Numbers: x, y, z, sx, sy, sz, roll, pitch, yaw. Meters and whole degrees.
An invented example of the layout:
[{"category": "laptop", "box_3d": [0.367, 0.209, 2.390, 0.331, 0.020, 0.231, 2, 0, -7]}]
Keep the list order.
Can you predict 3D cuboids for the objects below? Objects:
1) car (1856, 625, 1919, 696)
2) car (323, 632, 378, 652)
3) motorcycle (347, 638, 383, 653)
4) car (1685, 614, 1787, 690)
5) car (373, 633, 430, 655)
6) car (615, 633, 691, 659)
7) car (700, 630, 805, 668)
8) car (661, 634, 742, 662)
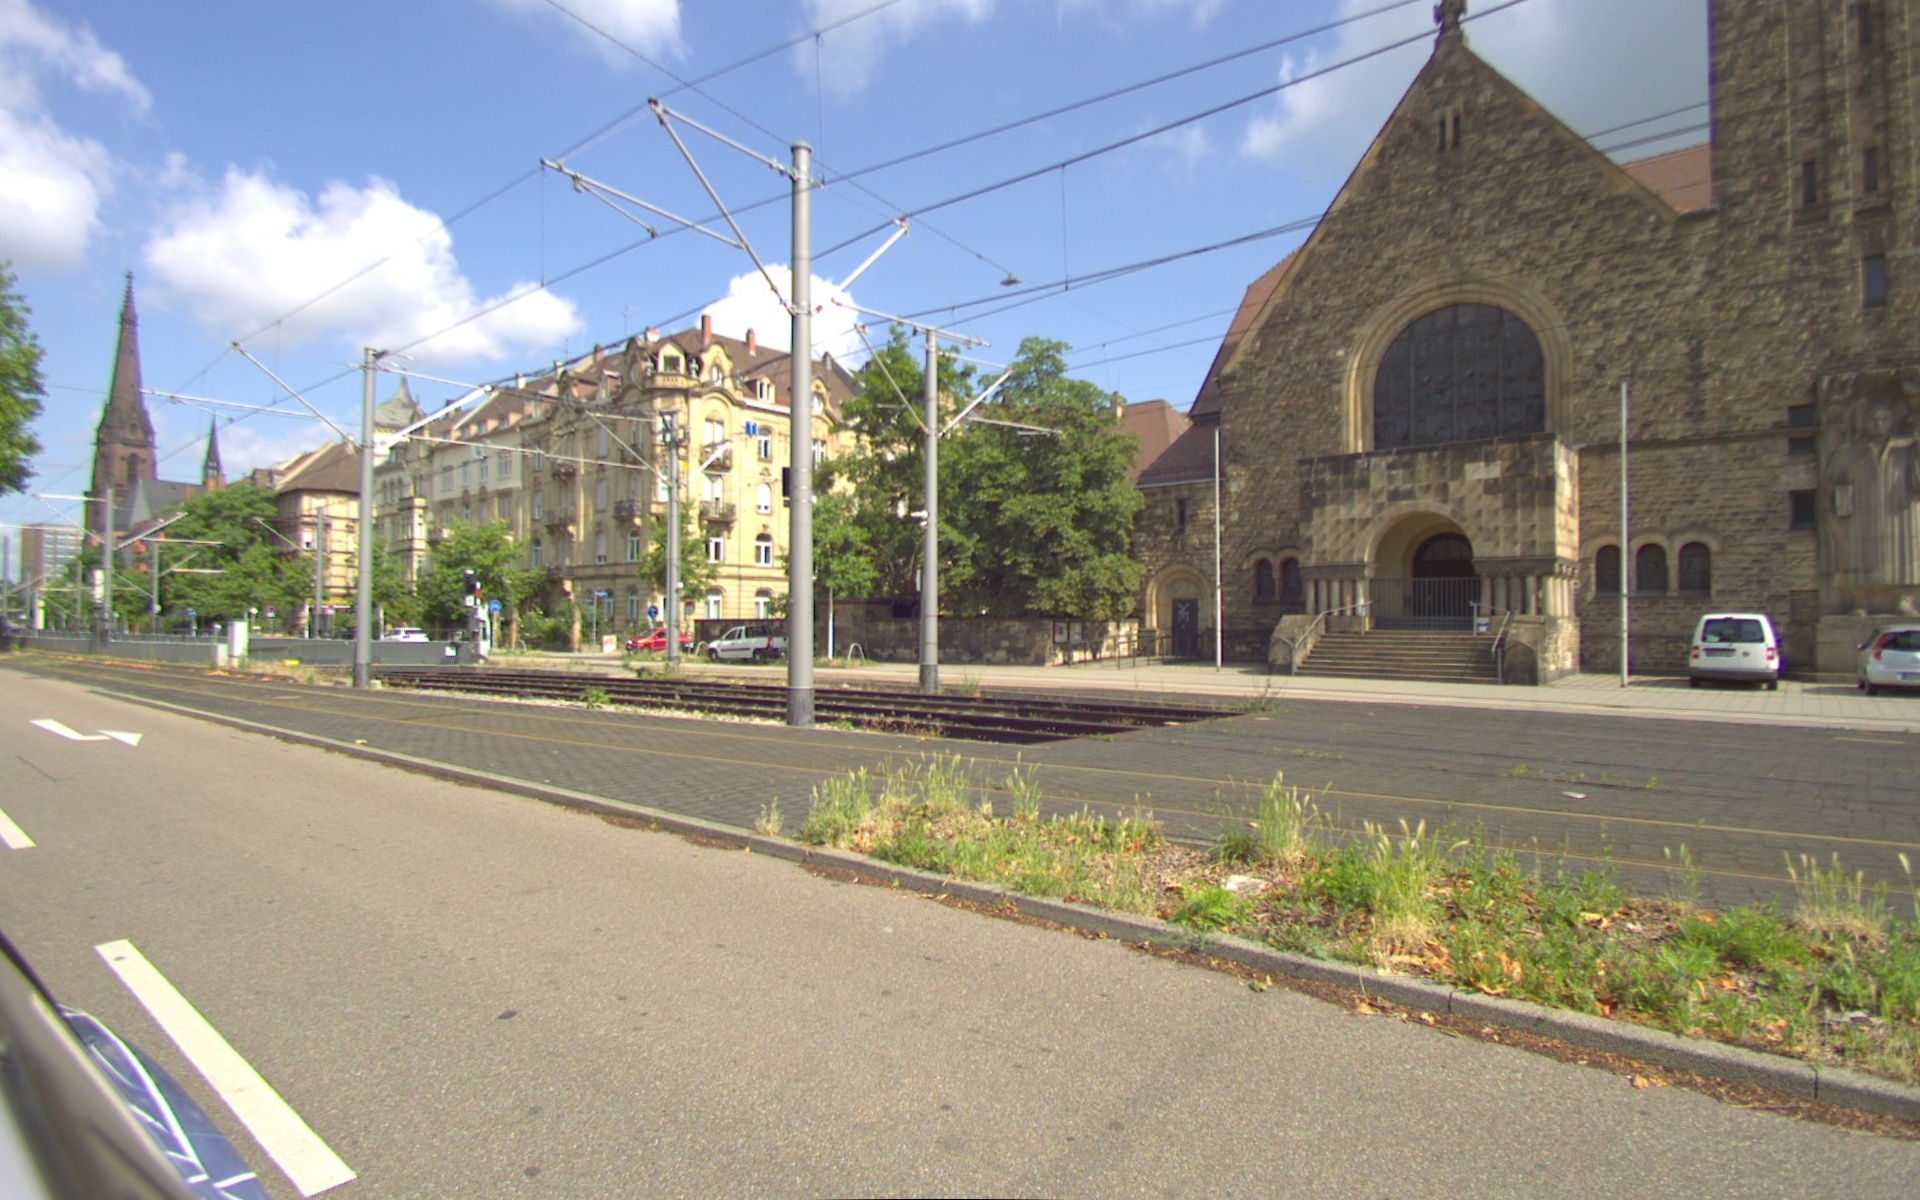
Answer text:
[{"category": "car", "box_3d": [21.541, 1.335, 22.811, 1.853, 1.514, 3.232, -2, -3, 39]}, {"category": "car", "box_3d": [-43.047, 2.967, 71.448, 4.096, 1.337, 2.000, -2, -3, 39]}, {"category": "motorcycle", "box_3d": [-40.854, 3.115, 69.535, 1.416, 0.949, 1.742, -2, -4, 40]}, {"category": "car", "box_3d": [19.578, 1.267, 25.560, 1.892, 1.762, 3.832, -2, -3, 38]}, {"category": "car", "box_3d": [-36.239, 2.847, 65.631, 4.308, 1.338, 1.734, -2, -3, 39]}, {"category": "car", "box_3d": [-17.701, 2.629, 58.403, 1.933, 1.475, 3.738, -2, -3, 44]}, {"category": "car", "box_3d": [-8.558, 1.981, 41.588, 4.410, 1.516, 1.911, -2, -3, 39]}, {"category": "car", "box_3d": [-13.800, 2.551, 54.156, 1.723, 1.475, 3.921, -2, -3, 41]}]
